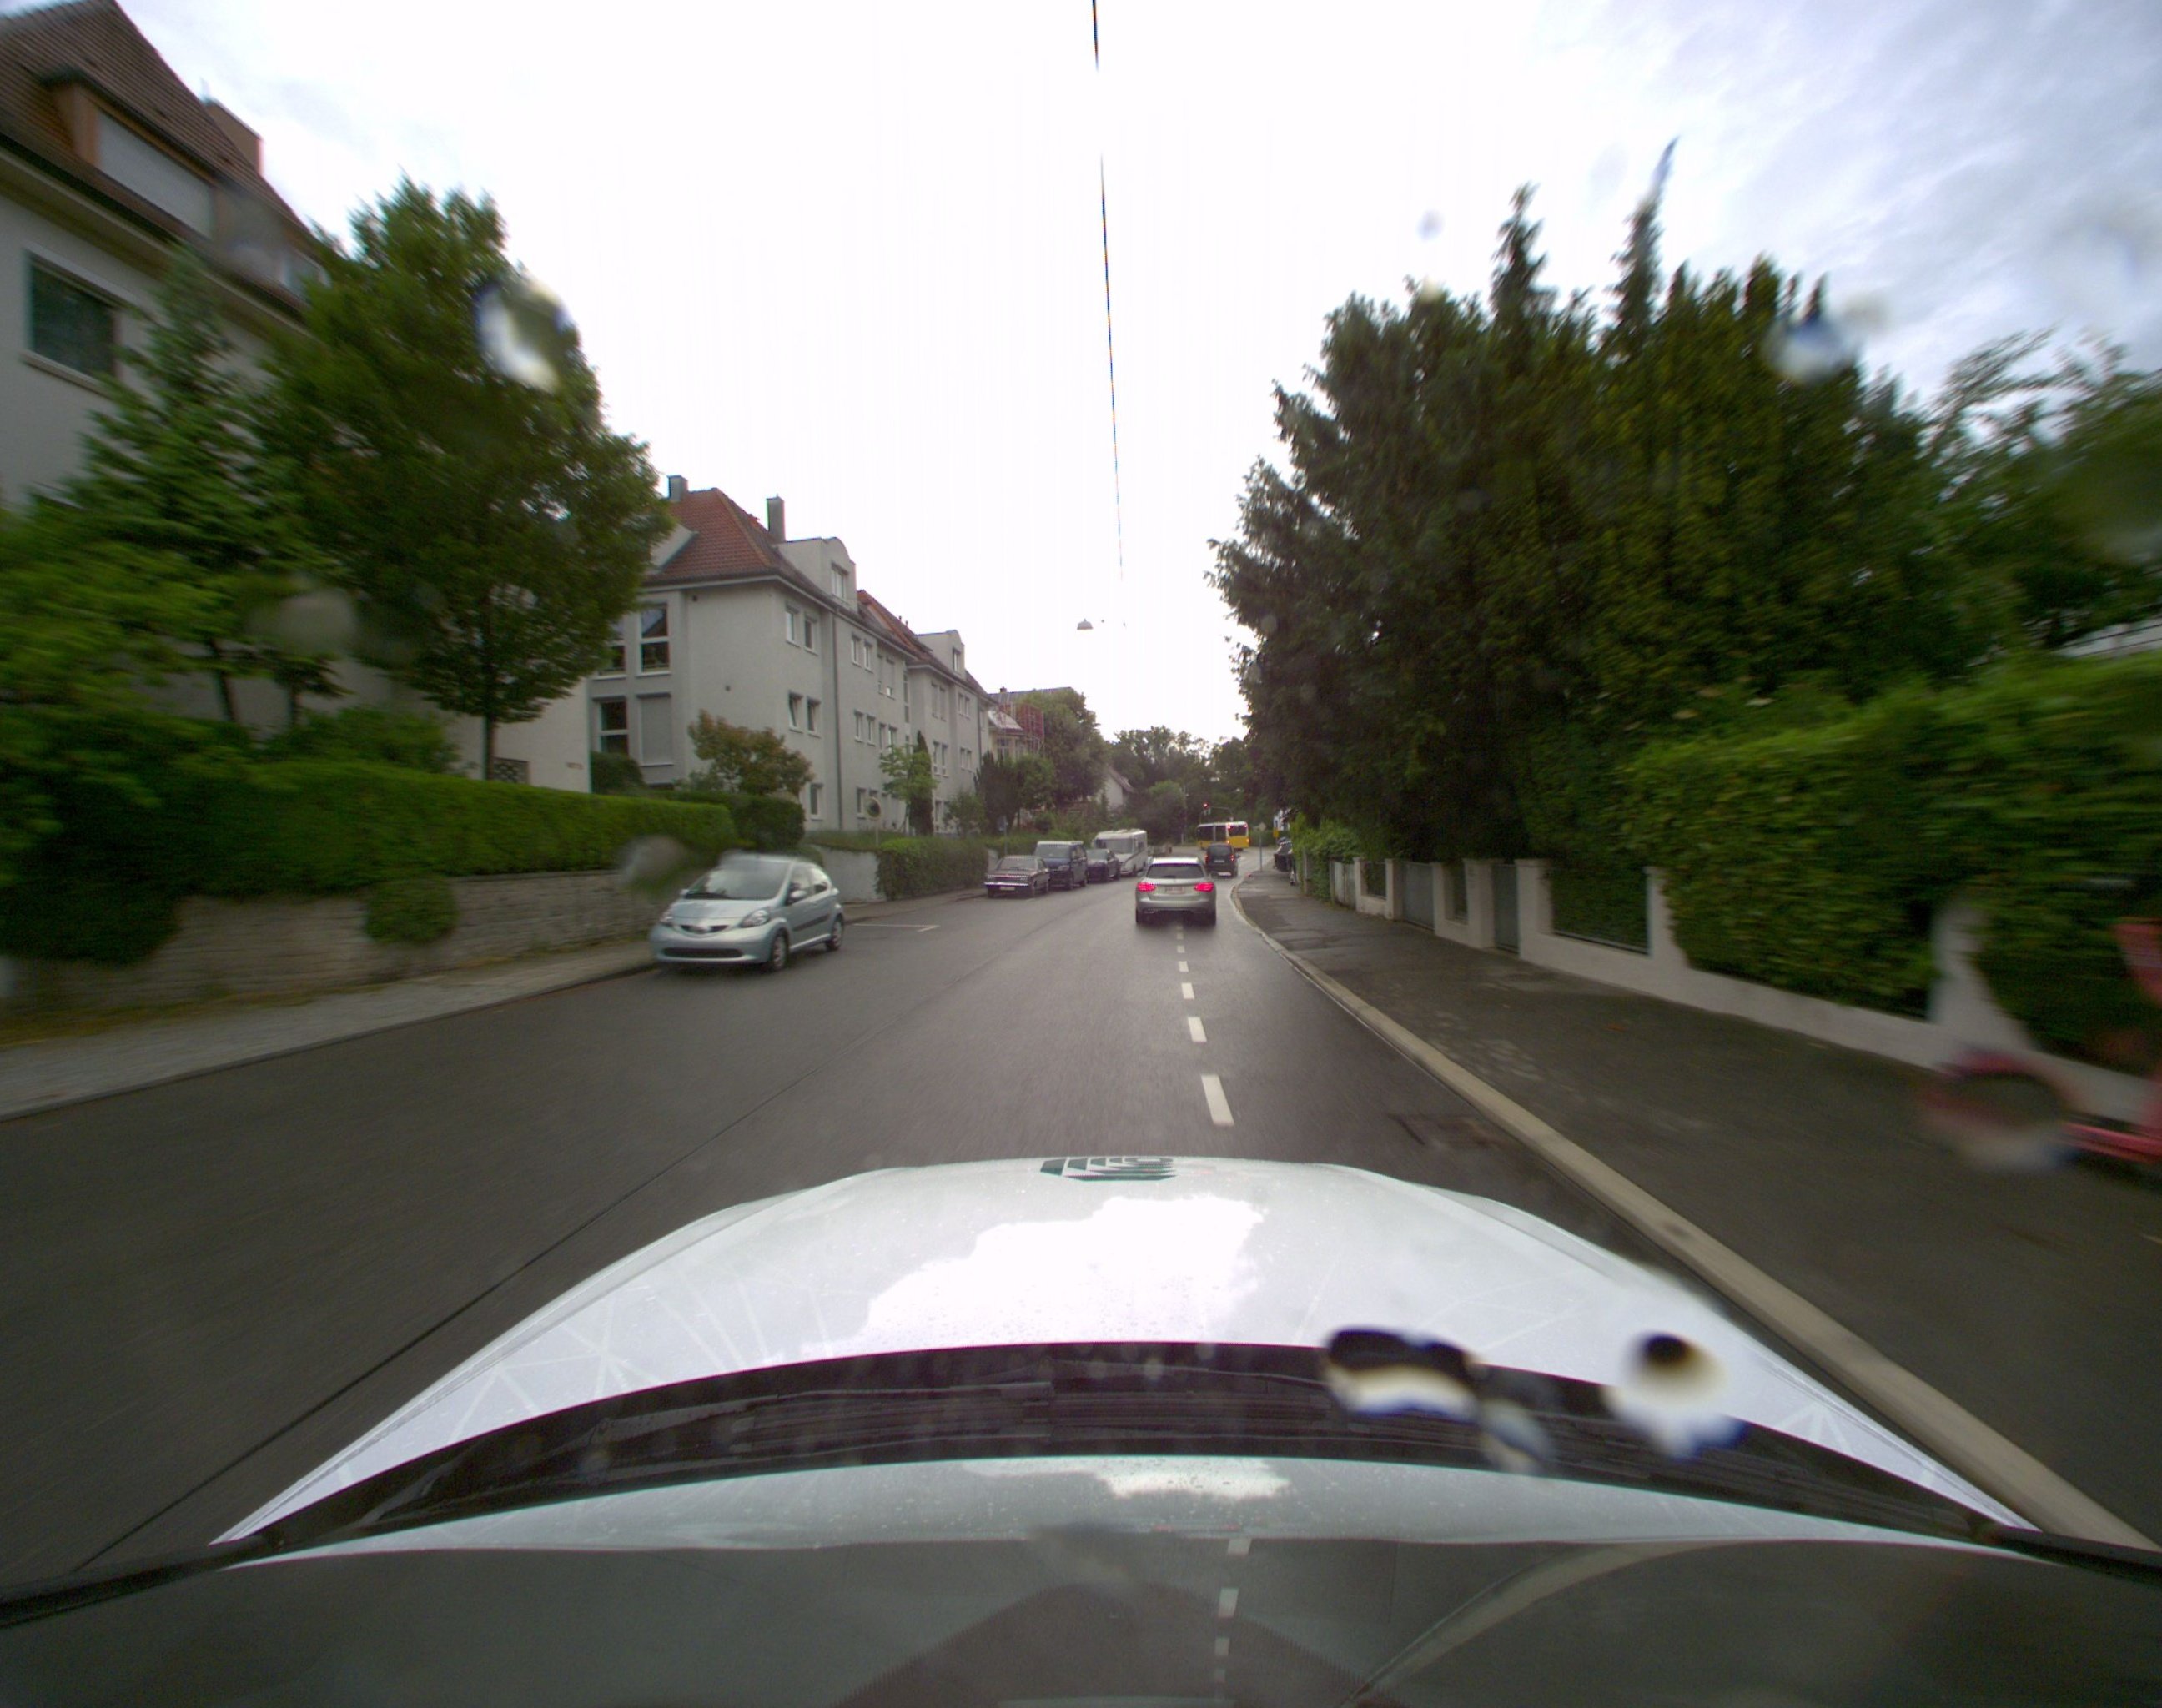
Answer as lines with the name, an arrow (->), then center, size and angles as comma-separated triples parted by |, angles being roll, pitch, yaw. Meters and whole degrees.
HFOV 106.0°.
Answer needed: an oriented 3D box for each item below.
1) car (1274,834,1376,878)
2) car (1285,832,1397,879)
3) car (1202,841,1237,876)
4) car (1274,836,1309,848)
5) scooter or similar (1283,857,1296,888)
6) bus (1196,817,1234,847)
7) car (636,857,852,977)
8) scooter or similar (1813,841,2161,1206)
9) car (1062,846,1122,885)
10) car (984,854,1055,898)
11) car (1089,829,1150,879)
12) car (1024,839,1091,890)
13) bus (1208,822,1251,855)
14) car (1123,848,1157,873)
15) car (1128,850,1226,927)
car -> 12.175, 0.116, 40.898 | 4.632, 1.874, 2.006 | -4, 0, 10
car -> 11.923, 0.075, 37.639 | 4.632, 1.812, 2.006 | -4, 0, 10
car -> 7.873, 0.248, 45.977 | 1.831, 1.904, 4.012 | 0, 0, 11
car -> 27.400, -1.611, 106.043 | 3.980, 1.530, 1.756 | 0, 2, -5
scooter or similar -> 8.489, 0.741, 33.226 | 0.453, 1.200, 1.873 | 0, -1, 13
bus -> 17.232, -2.928, 105.790 | 2.921, 3.650, 10.296 | 0, 2, -2
car -> -4.714, 0.794, 11.931 | 1.599, 1.486, 3.489 | 0, 0, 2
scooter or similar -> 4.131, 0.611, 3.606 | 0.448, 1.307, 1.483 | -2, -1, 3
car -> 0.619, 0.527, 41.076 | 1.979, 1.688, 4.695 | 0, 2, 14
car -> -2.136, 0.748, 29.509 | 1.634, 1.417, 4.623 | 0, 1, 8
car -> 2.384, -0.112, 48.348 | 2.374, 2.771, 6.557 | 0, 2, 14
car -> -0.924, 0.411, 34.943 | 1.818, 2.056, 5.024 | 0, 0, 11
bus -> 17.541, -1.956, 96.927 | 2.921, 3.650, 10.162 | 0, 2, -2
car -> 3.937, 0.398, 54.098 | 1.700, 1.447, 3.268 | 0, 2, 14
car -> 2.336, 0.698, 18.970 | 1.804, 1.556, 4.015 | 0, 1, 13
